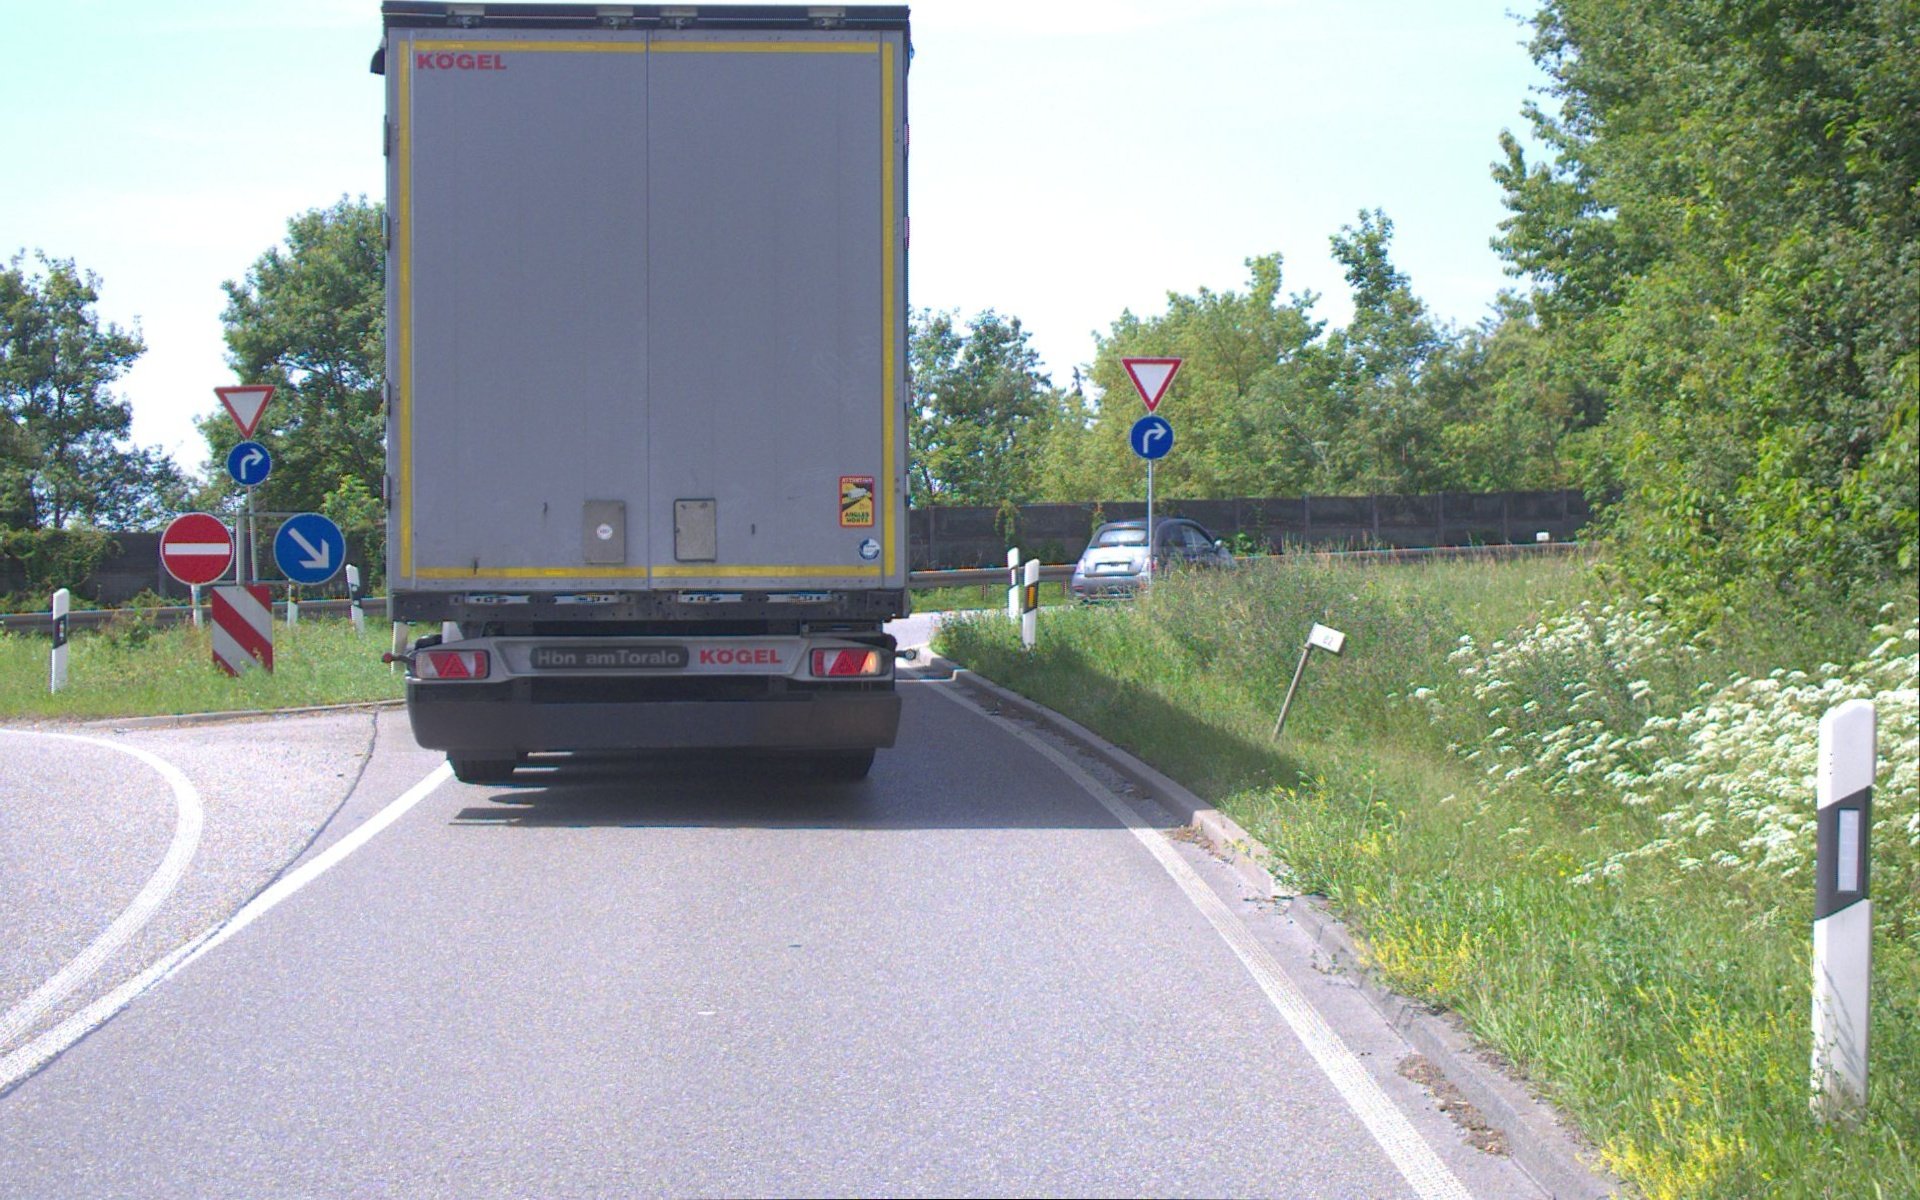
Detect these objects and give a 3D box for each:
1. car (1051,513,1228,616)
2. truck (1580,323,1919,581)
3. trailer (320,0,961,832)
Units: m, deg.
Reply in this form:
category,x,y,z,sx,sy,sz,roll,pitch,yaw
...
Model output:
category,x,y,z,sx,sy,sz,roll,pitch,yaw
car,2.812,-0.573,53.090,1.667,1.481,3.997,-1,1,19
truck,19.691,-3.021,70.133,16.154,4.728,3.840,-2,1,-37
trailer,-1.895,-1.098,23.071,3.026,4.020,13.354,0,2,-3
